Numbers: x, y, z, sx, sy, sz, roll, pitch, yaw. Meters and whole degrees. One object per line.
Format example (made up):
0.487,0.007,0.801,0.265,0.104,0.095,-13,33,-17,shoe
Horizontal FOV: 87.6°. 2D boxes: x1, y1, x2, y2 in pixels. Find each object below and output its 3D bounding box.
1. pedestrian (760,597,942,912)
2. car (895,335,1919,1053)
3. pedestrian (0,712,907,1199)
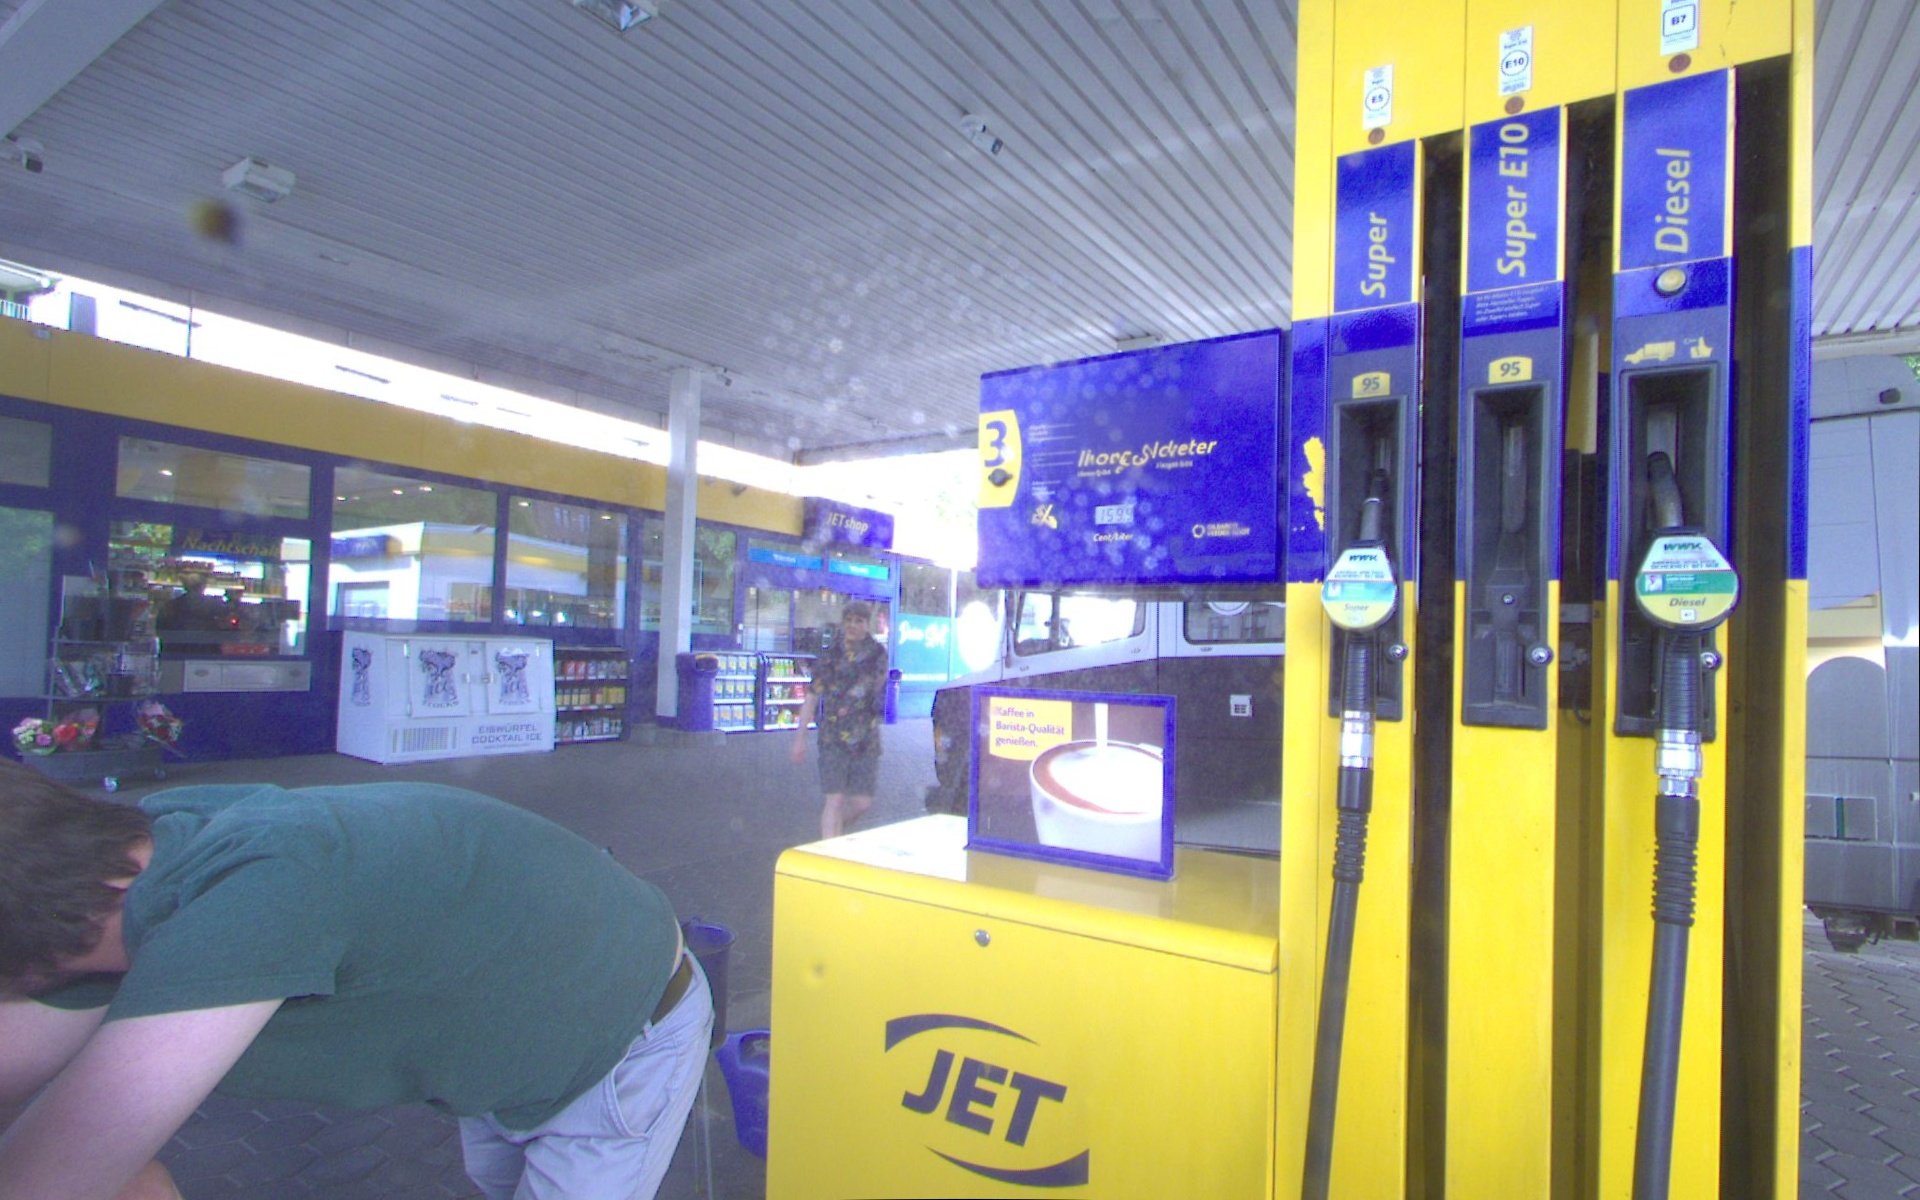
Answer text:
-0.715,0.898,6.311,0.963,1.785,0.979,0,-1,-18,pedestrian
2.384,0.413,6.020,5.219,2.724,2.250,0,-3,34,car
-0.539,0.808,1.075,0.664,1.298,0.749,-1,-1,31,pedestrian
